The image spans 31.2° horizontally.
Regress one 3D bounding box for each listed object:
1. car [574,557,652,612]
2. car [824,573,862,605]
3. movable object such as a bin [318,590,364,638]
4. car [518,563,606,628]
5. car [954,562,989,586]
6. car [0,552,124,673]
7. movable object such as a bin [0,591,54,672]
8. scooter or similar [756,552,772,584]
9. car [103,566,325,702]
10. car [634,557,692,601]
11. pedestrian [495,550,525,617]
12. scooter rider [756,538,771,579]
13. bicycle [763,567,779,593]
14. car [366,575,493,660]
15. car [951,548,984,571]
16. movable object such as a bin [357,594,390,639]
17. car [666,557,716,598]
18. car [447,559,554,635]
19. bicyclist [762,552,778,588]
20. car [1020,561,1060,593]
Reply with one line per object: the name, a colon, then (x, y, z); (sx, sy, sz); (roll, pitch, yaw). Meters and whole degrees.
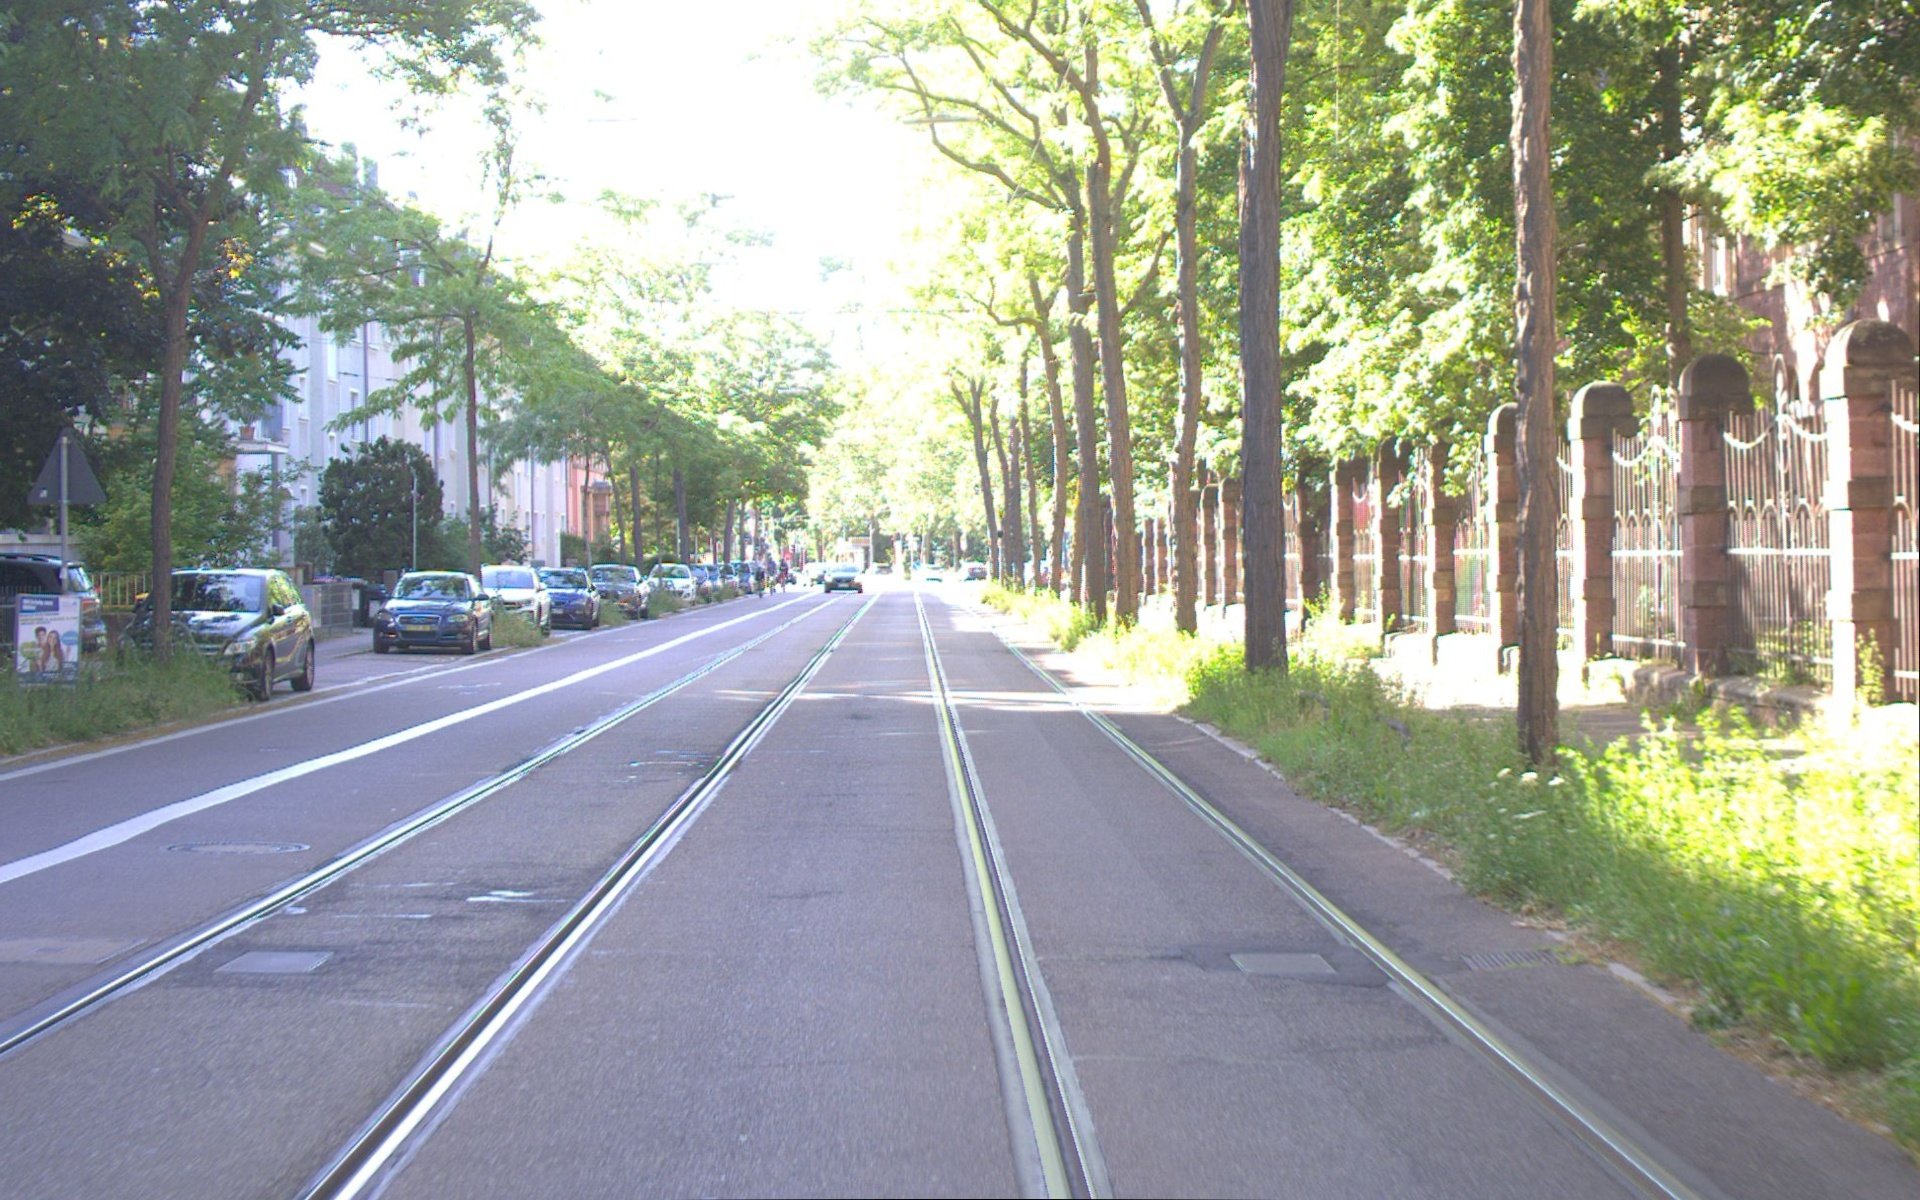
car: (-9.677, -0.451, 96.173); (1.817, 1.480, 4.206); (1, 1, -1)
car: (-5.527, -0.539, 162.038); (1.757, 1.434, 4.524); (0, 1, -2)
movable object such as a bin: (-13.799, 0.311, 76.659); (0.844, 1.042, 0.732); (2, 1, 2)
car: (-9.586, -0.132, 83.099); (1.757, 1.506, 4.439); (1, 1, -2)
car: (0.786, -1.786, 232.189); (1.942, 1.605, 4.001); (0, 1, -6)
car: (-14.104, 0.150, 48.490); (4.165, 1.653, 1.984); (0, 1, -2)
movable object such as a bin: (-12.640, 0.416, 45.855); (0.875, 1.062, 0.814); (-1, 1, 0)
scooter or similar: (-8.259, -1.356, 144.909); (0.520, 1.293, 1.377); (-4, 1, -1)
car: (-9.050, 0.375, 42.034); (1.776, 1.536, 4.486); (1, 1, -1)
car: (-10.540, -0.755, 122.268); (1.702, 1.480, 4.079); (2, 1, -1)
pedestrian: (-12.176, -0.450, 92.972); (0.691, 1.795, 0.813); (-1, 1, -1)
scooter rider: (-8.278, -1.737, 144.911); (0.496, 1.694, 0.787); (-4, 1, -1)
bicycle: (-8.725, -0.930, 158.594); (0.626, 1.173, 1.913); (-3, 1, -1)
car: (-9.387, 0.289, 61.065); (1.705, 1.401, 4.334); (1, 1, -2)
car: (0.538, -2.871, 245.022); (1.942, 1.605, 4.001); (0, 1, -6)
movable object such as a bin: (-13.078, 0.367, 76.651); (0.559, 0.972, 0.732); (2, 1, 2)
car: (-10.188, -0.859, 130.343); (1.687, 1.480, 3.760); (2, 1, -2)
car: (-9.691, -0.087, 72.728); (1.817, 1.506, 4.371); (1, 1, -2)
bicyclist: (-8.749, -1.389, 158.556); (0.626, 1.633, 0.940); (-3, 1, -1)
car: (4.178, -1.210, 179.406); (1.839, 1.649, 3.580); (0, 1, -3)
